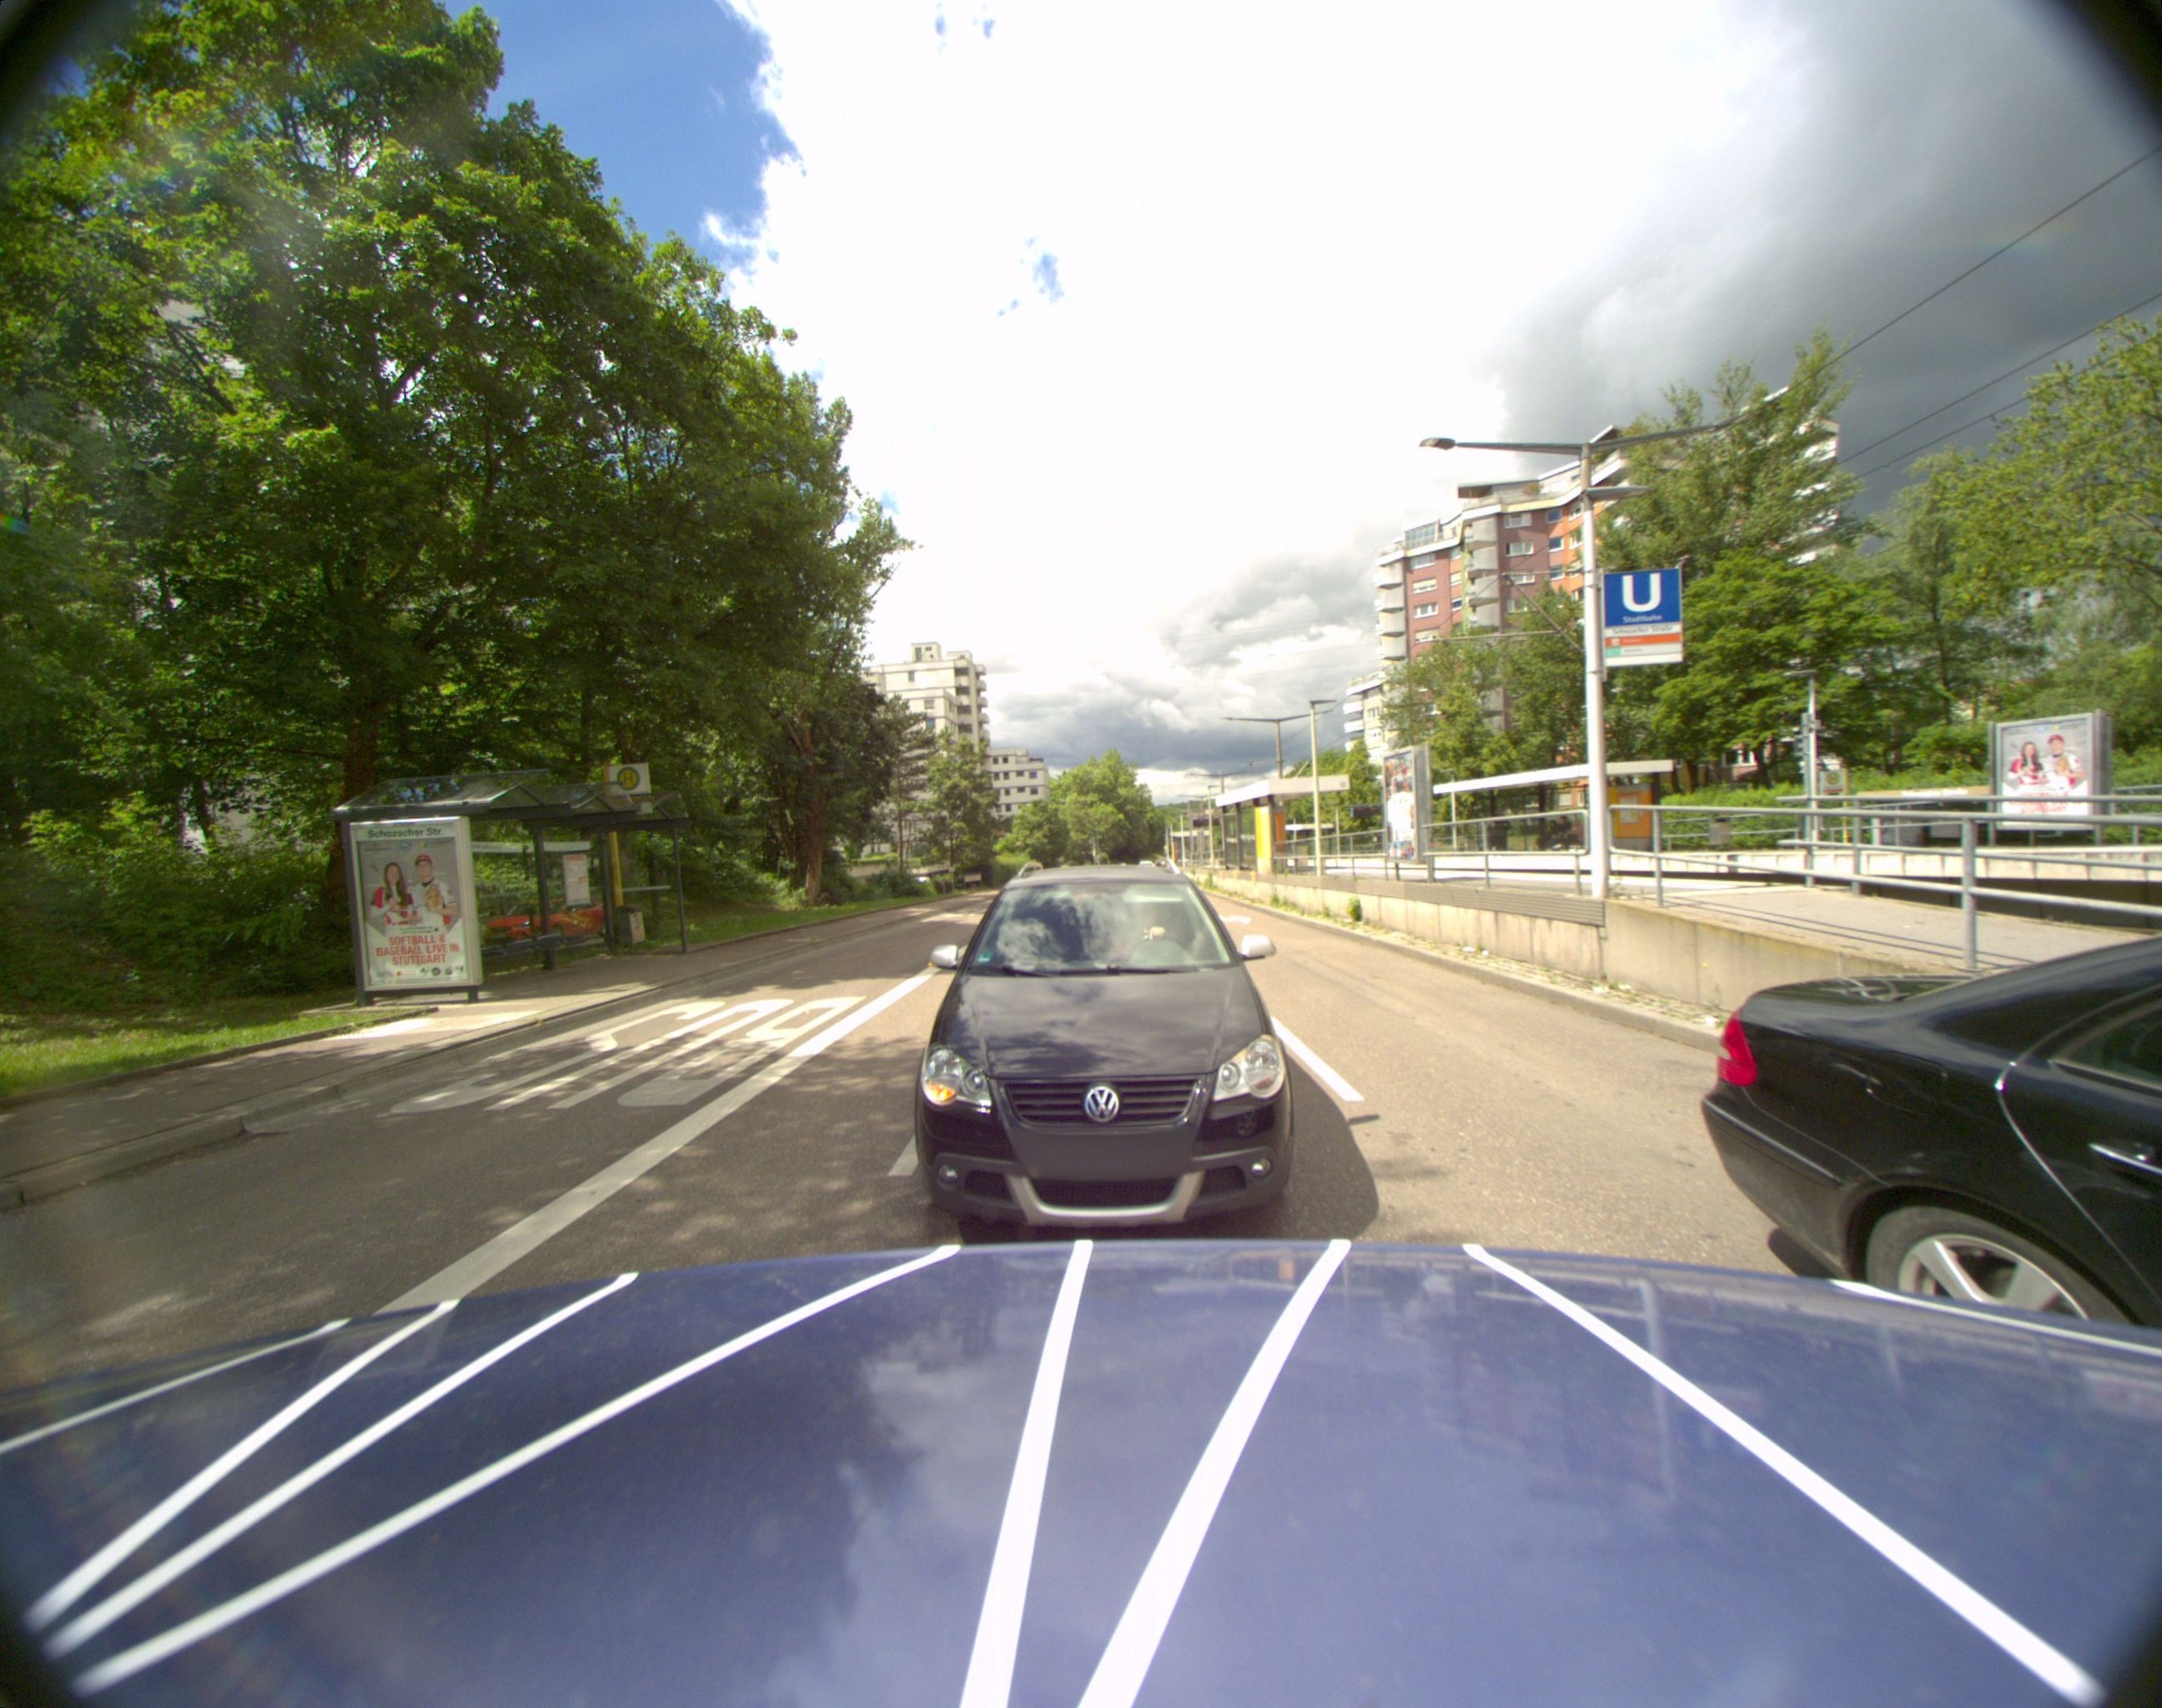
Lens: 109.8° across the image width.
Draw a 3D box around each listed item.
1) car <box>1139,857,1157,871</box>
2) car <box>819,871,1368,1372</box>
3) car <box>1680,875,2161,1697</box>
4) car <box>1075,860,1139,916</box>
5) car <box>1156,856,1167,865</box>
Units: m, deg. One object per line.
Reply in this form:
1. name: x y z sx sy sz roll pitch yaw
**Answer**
1. car: 7.478 1.070 85.145 1.732 1.453 4.000 -2 0 1
2. car: 0.074 0.925 4.482 1.732 1.501 4.000 -2 0 1
3. car: 2.859 0.843 0.271 1.732 1.453 4.544 -2 0 1
4. car: 0.762 0.969 23.206 1.732 1.453 4.000 -2 0 1
5. car: 14.010 1.143 132.588 1.731 1.505 4.002 -3 0 7
